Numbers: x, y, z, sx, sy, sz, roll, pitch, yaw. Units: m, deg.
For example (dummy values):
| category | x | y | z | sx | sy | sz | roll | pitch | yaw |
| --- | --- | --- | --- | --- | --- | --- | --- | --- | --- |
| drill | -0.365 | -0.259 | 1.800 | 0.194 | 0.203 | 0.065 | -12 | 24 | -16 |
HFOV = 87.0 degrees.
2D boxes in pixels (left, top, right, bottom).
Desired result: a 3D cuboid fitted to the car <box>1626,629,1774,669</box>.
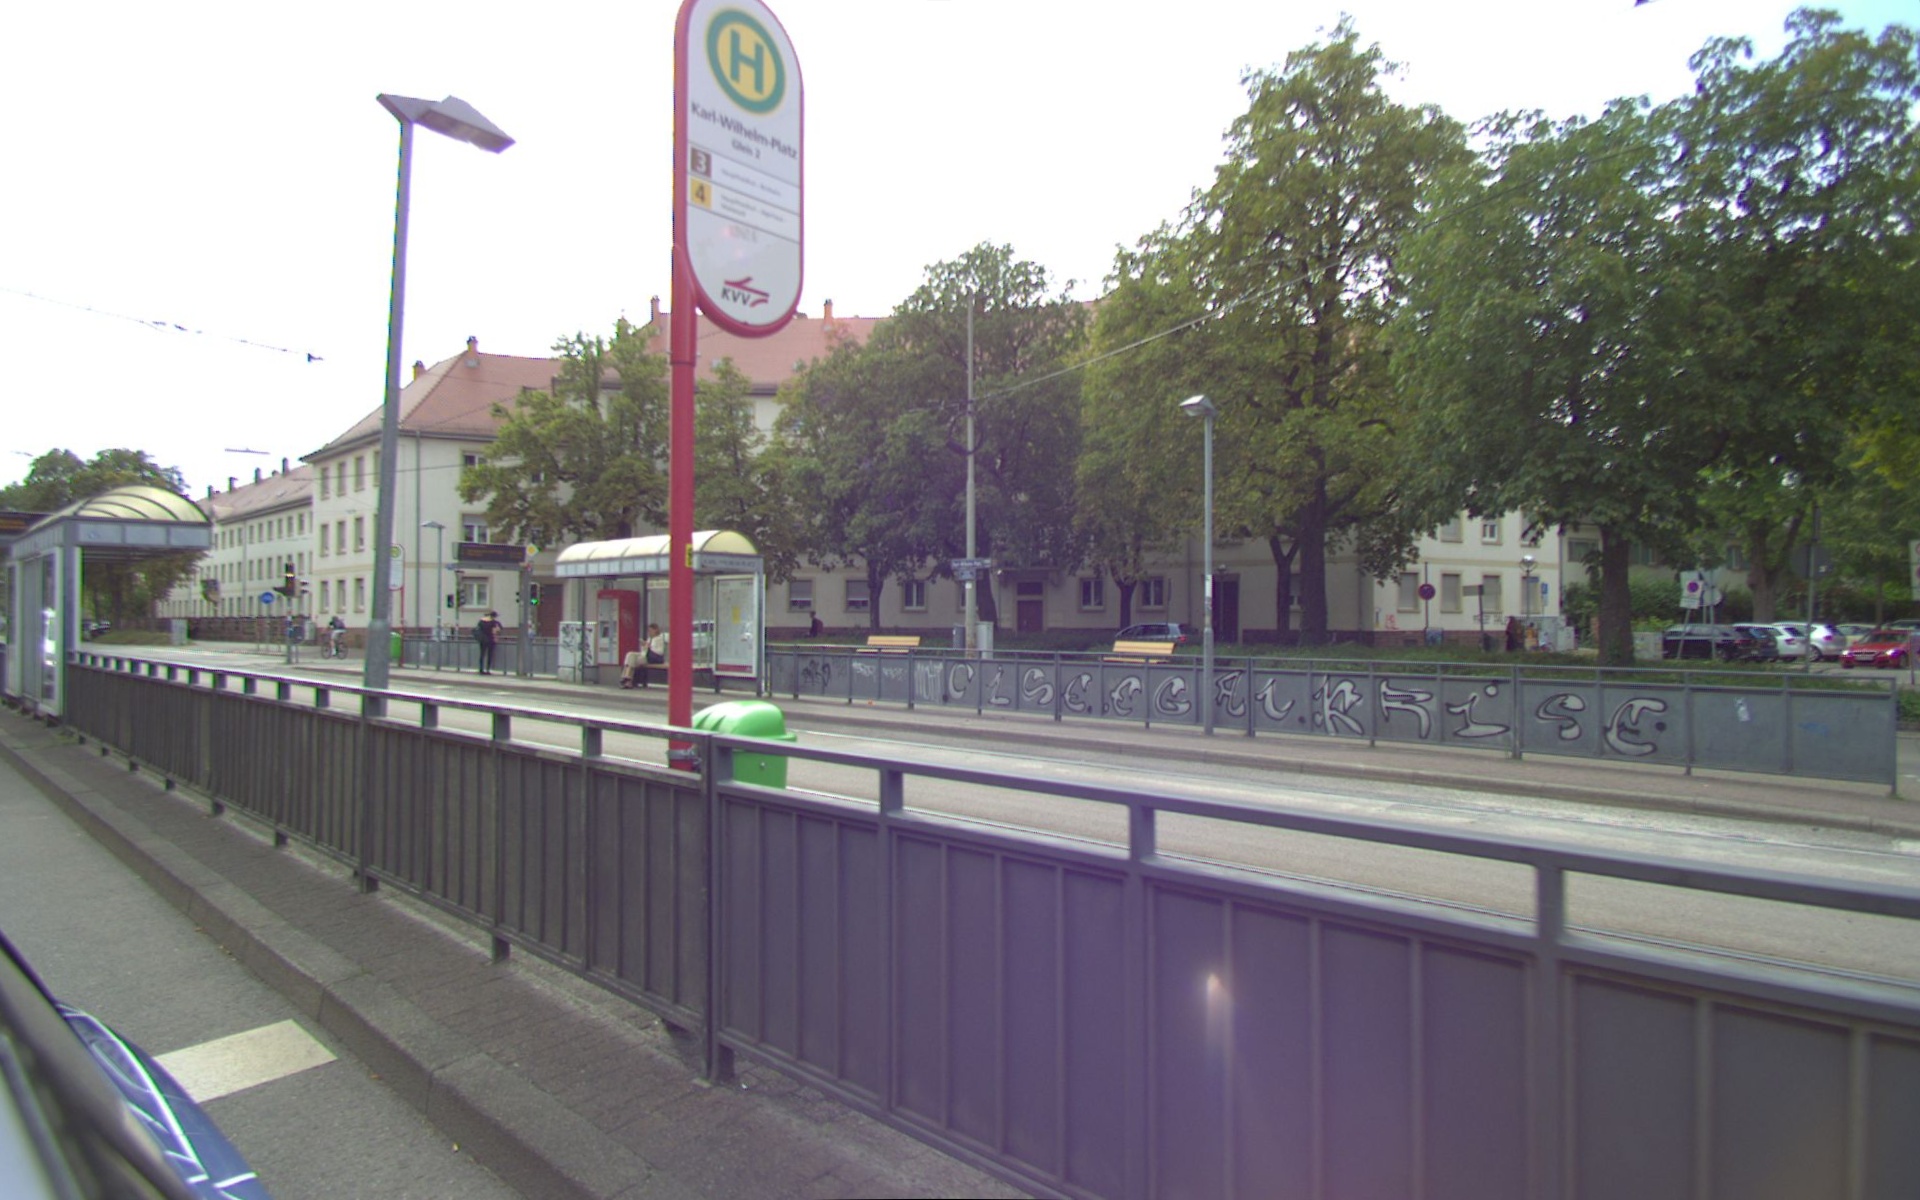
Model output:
| category | x | y | z | sx | sy | sz | roll | pitch | yaw |
| --- | --- | --- | --- | --- | --- | --- | --- | --- | --- |
| car | 27.339 | 1.780 | 37.532 | 1.784 | 1.406 | 4.013 | 1 | -2 | -26 |

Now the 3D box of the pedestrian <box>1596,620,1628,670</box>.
| category | x | y | z | sx | sy | sz | roll | pitch | yaw |
| --- | --- | --- | --- | --- | --- | --- | --- | --- | --- |
| pedestrian | 23.685 | 1.628 | 36.785 | 0.720 | 1.767 | 0.685 | 1 | -2 | -27 |

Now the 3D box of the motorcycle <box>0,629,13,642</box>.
| category | x | y | z | sx | sy | sz | roll | pitch | yaw |
| --- | --- | --- | --- | --- | --- | --- | --- | --- | --- |
| motorcycle | -112.781 | 4.252 | 118.647 | 2.278 | 1.400 | 0.839 | -4 | 2 | -17 |

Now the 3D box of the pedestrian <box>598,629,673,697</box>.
| category | x | y | z | sx | sy | sz | roll | pitch | yaw |
| --- | --- | --- | --- | --- | --- | --- | --- | --- | --- |
| pedestrian | -6.466 | 1.230 | 20.189 | 0.984 | 1.303 | 1.049 | -1 | -2 | 36 |

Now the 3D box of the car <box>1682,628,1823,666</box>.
| category | x | y | z | sx | sy | sz | roll | pitch | yaw |
| --- | --- | --- | --- | --- | --- | --- | --- | --- | --- |
| car | 31.387 | 1.825 | 40.229 | 1.784 | 1.406 | 4.013 | 1 | -2 | -26 |

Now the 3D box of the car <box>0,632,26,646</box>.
| category | x | y | z | sx | sy | sz | roll | pitch | yaw |
| --- | --- | --- | --- | --- | --- | --- | --- | --- | --- |
| car | -101.280 | 4.179 | 108.115 | 4.296 | 1.481 | 1.680 | -1 | -2 | 40 |

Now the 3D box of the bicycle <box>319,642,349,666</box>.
| category | x | y | z | sx | sy | sz | roll | pitch | yaw |
| --- | --- | --- | --- | --- | --- | --- | --- | --- | --- |
| bicycle | -25.911 | 2.213 | 41.881 | 1.550 | 0.956 | 0.653 | -1 | -2 | 42 |

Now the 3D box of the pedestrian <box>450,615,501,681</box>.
| category | x | y | z | sx | sy | sz | roll | pitch | yaw |
| --- | --- | --- | --- | --- | --- | --- | --- | --- | --- |
| pedestrian | -12.276 | 1.214 | 25.658 | 0.841 | 1.633 | 0.844 | -1 | -2 | 36 |

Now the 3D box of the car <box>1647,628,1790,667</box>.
| category | x | y | z | sx | sy | sz | roll | pitch | yaw |
| --- | --- | --- | --- | --- | --- | --- | --- | --- | --- |
| car | 29.169 | 1.796 | 39.044 | 1.784 | 1.406 | 4.013 | 1 | -2 | -26 |

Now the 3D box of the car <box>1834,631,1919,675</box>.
| category | x | y | z | sx | sy | sz | roll | pitch | yaw |
| --- | --- | --- | --- | --- | --- | --- | --- | --- | --- |
| car | 33.166 | 1.838 | 35.901 | 3.930 | 1.489 | 1.821 | 1 | -2 | -26 |

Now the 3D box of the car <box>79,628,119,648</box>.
| category | x | y | z | sx | sy | sz | roll | pitch | yaw |
| --- | --- | --- | --- | --- | --- | --- | --- | --- | --- |
| car | -65.074 | 2.862 | 76.462 | 4.298 | 1.434 | 1.679 | -2 | 0 | 42 |

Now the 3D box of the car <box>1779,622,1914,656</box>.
| category | x | y | z | sx | sy | sz | roll | pitch | yaw |
| --- | --- | --- | --- | --- | --- | --- | --- | --- | --- |
| car | 38.317 | 1.679 | 43.854 | 1.784 | 1.406 | 4.013 | 1 | -2 | -26 |

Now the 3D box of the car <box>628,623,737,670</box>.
| category | x | y | z | sx | sy | sz | roll | pitch | yaw |
| --- | --- | --- | --- | --- | --- | --- | --- | --- | --- |
| car | -11.408 | 1.908 | 41.849 | 4.093 | 1.734 | 1.844 | 2 | -1 | -8 |

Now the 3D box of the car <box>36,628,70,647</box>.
| category | x | y | z | sx | sy | sz | roll | pitch | yaw |
| --- | --- | --- | --- | --- | --- | --- | --- | --- | --- |
| car | -79.979 | 3.292 | 89.217 | 4.298 | 1.624 | 1.766 | -2 | -3 | 42 |

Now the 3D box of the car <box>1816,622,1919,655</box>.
| category | x | y | z | sx | sy | sz | roll | pitch | yaw |
| --- | --- | --- | --- | --- | --- | --- | --- | --- | --- |
| car | 40.768 | 1.681 | 44.781 | 1.784 | 1.406 | 4.013 | 1 | -2 | -26 |

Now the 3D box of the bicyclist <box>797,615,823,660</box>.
| category | x | y | z | sx | sy | sz | roll | pitch | yaw |
| --- | --- | --- | --- | --- | --- | --- | --- | --- | --- |
| bicyclist | -6.040 | 1.497 | 40.744 | 0.902 | 1.789 | 0.609 | -1 | -2 | 14 |

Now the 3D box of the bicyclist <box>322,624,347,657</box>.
| category | x | y | z | sx | sy | sz | roll | pitch | yaw |
| --- | --- | --- | --- | --- | --- | --- | --- | --- | --- |
| bicyclist | -25.910 | 1.681 | 41.902 | 0.835 | 1.350 | 0.653 | -2 | -2 | 42 |

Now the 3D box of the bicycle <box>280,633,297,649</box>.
| category | x | y | z | sx | sy | sz | roll | pitch | yaw |
| --- | --- | --- | --- | --- | --- | --- | --- | --- | --- |
| bicycle | -40.569 | 2.462 | 61.138 | 1.671 | 0.922 | 0.472 | -2 | -3 | 42 |

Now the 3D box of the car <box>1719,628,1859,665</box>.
| category | x | y | z | sx | sy | sz | roll | pitch | yaw |
| --- | --- | --- | --- | --- | --- | --- | --- | --- | --- |
| car | 33.787 | 1.866 | 41.353 | 1.784 | 1.406 | 4.013 | 1 | -2 | -26 |

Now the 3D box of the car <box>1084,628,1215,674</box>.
| category | x | y | z | sx | sy | sz | roll | pitch | yaw |
| --- | --- | --- | --- | --- | --- | --- | --- | --- | --- |
| car | 7.041 | 1.860 | 37.890 | 4.347 | 1.590 | 2.181 | -2 | -2 | 42 |

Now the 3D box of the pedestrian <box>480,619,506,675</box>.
| category | x | y | z | sx | sy | sz | roll | pitch | yaw |
| --- | --- | --- | --- | --- | --- | --- | --- | --- | --- |
| pedestrian | -16.216 | 1.625 | 35.172 | 0.720 | 1.915 | 0.838 | 1 | -2 | -30 |

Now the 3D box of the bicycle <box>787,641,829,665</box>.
| category | x | y | z | sx | sy | sz | roll | pitch | yaw |
| --- | --- | --- | --- | --- | --- | --- | --- | --- | --- |
| bicycle | -6.099 | 2.144 | 40.735 | 1.561 | 0.944 | 0.605 | -1 | -2 | 14 |

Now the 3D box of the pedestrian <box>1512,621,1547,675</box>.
| category | x | y | z | sx | sy | sz | roll | pitch | yaw |
| --- | --- | --- | --- | --- | --- | --- | --- | --- | --- |
| pedestrian | 19.260 | 1.616 | 34.218 | 0.740 | 1.767 | 0.735 | 1 | -2 | -30 |

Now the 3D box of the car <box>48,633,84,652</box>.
| category | x | y | z | sx | sy | sz | roll | pitch | yaw |
| --- | --- | --- | --- | --- | --- | --- | --- | --- | --- |
| car | -71.570 | 3.404 | 81.026 | 4.298 | 1.434 | 1.679 | -2 | -1 | 42 |
